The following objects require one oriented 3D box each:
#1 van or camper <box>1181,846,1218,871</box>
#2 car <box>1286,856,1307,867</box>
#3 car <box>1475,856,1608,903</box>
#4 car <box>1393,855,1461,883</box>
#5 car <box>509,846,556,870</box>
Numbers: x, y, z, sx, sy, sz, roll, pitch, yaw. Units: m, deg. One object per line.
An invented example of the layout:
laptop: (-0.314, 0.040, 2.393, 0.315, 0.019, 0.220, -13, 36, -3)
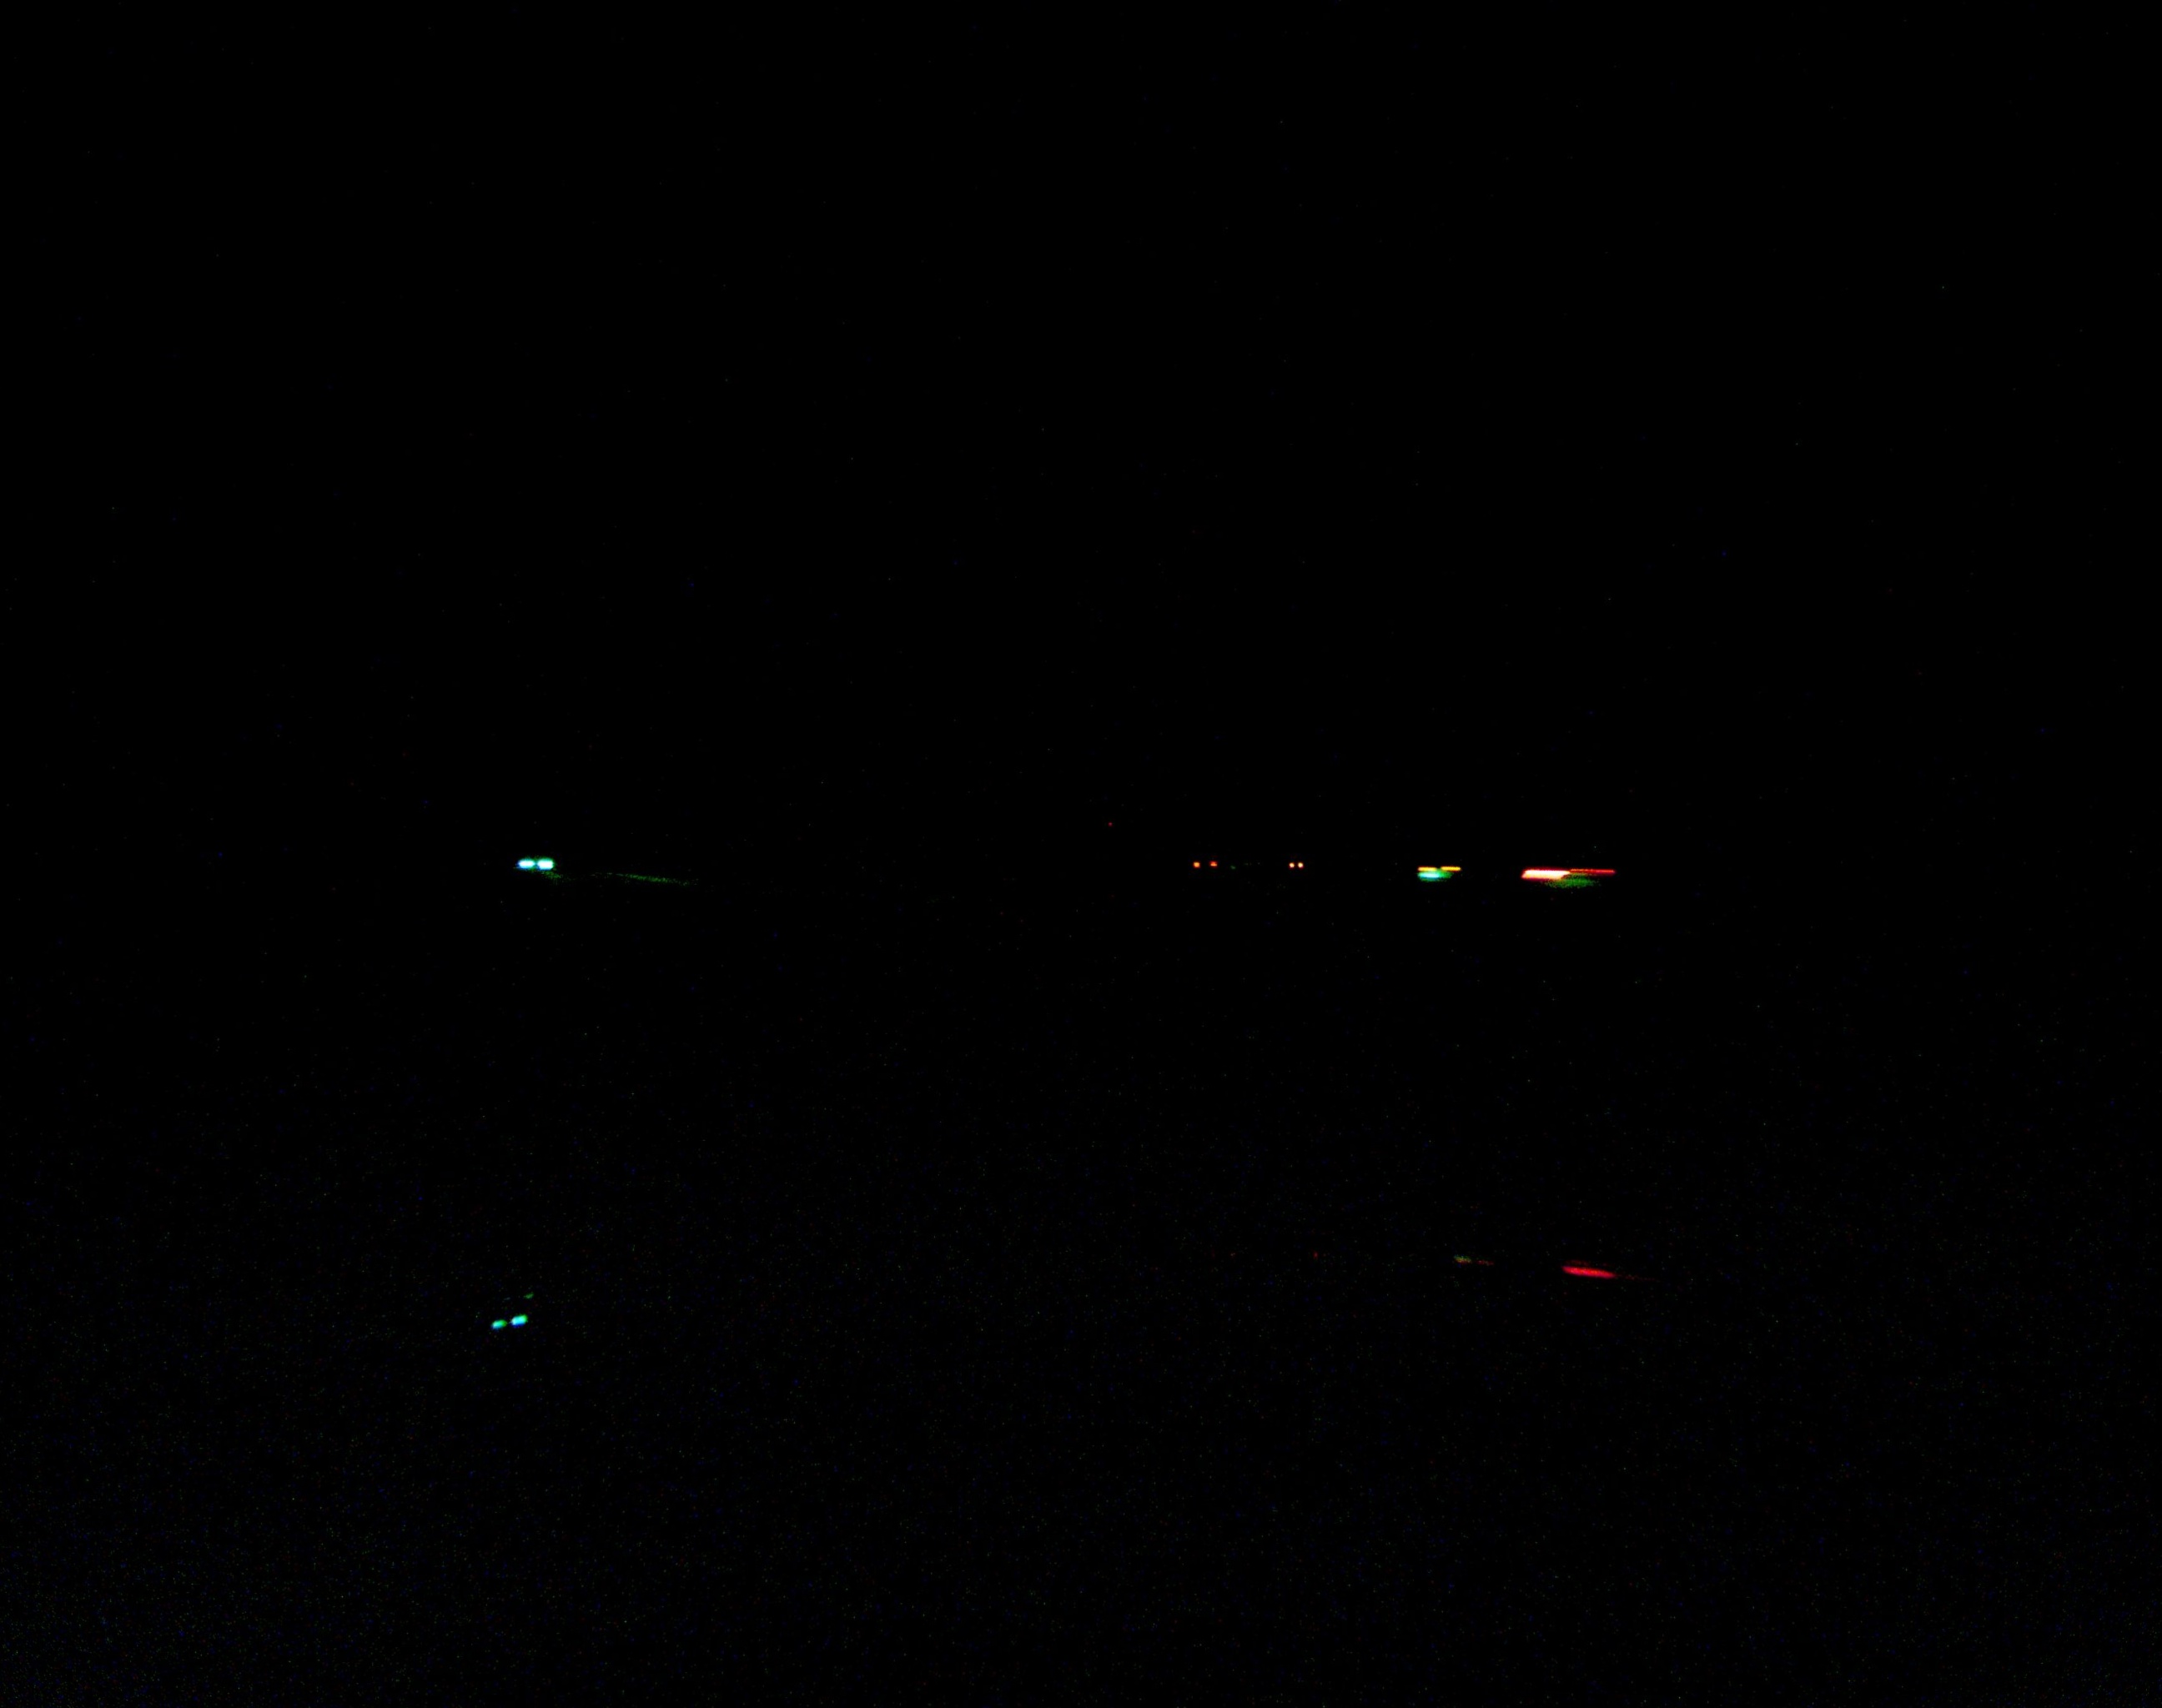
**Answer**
van or camper: (12.716, 0.473, 82.016, 2.301, 2.602, 7.663, 0, 0, -4)
car: (30.091, 1.029, 106.210, 1.825, 1.433, 4.476, 0, -1, 2)
car: (15.455, 0.810, 25.849, 1.962, 1.448, 4.472, 0, 0, 2)
car: (18.659, 0.789, 41.193, 1.962, 1.448, 4.171, 0, 0, 2)
car: (-45.562, 0.353, 63.090, 3.989, 1.843, 2.004, -2, 0, 37)
